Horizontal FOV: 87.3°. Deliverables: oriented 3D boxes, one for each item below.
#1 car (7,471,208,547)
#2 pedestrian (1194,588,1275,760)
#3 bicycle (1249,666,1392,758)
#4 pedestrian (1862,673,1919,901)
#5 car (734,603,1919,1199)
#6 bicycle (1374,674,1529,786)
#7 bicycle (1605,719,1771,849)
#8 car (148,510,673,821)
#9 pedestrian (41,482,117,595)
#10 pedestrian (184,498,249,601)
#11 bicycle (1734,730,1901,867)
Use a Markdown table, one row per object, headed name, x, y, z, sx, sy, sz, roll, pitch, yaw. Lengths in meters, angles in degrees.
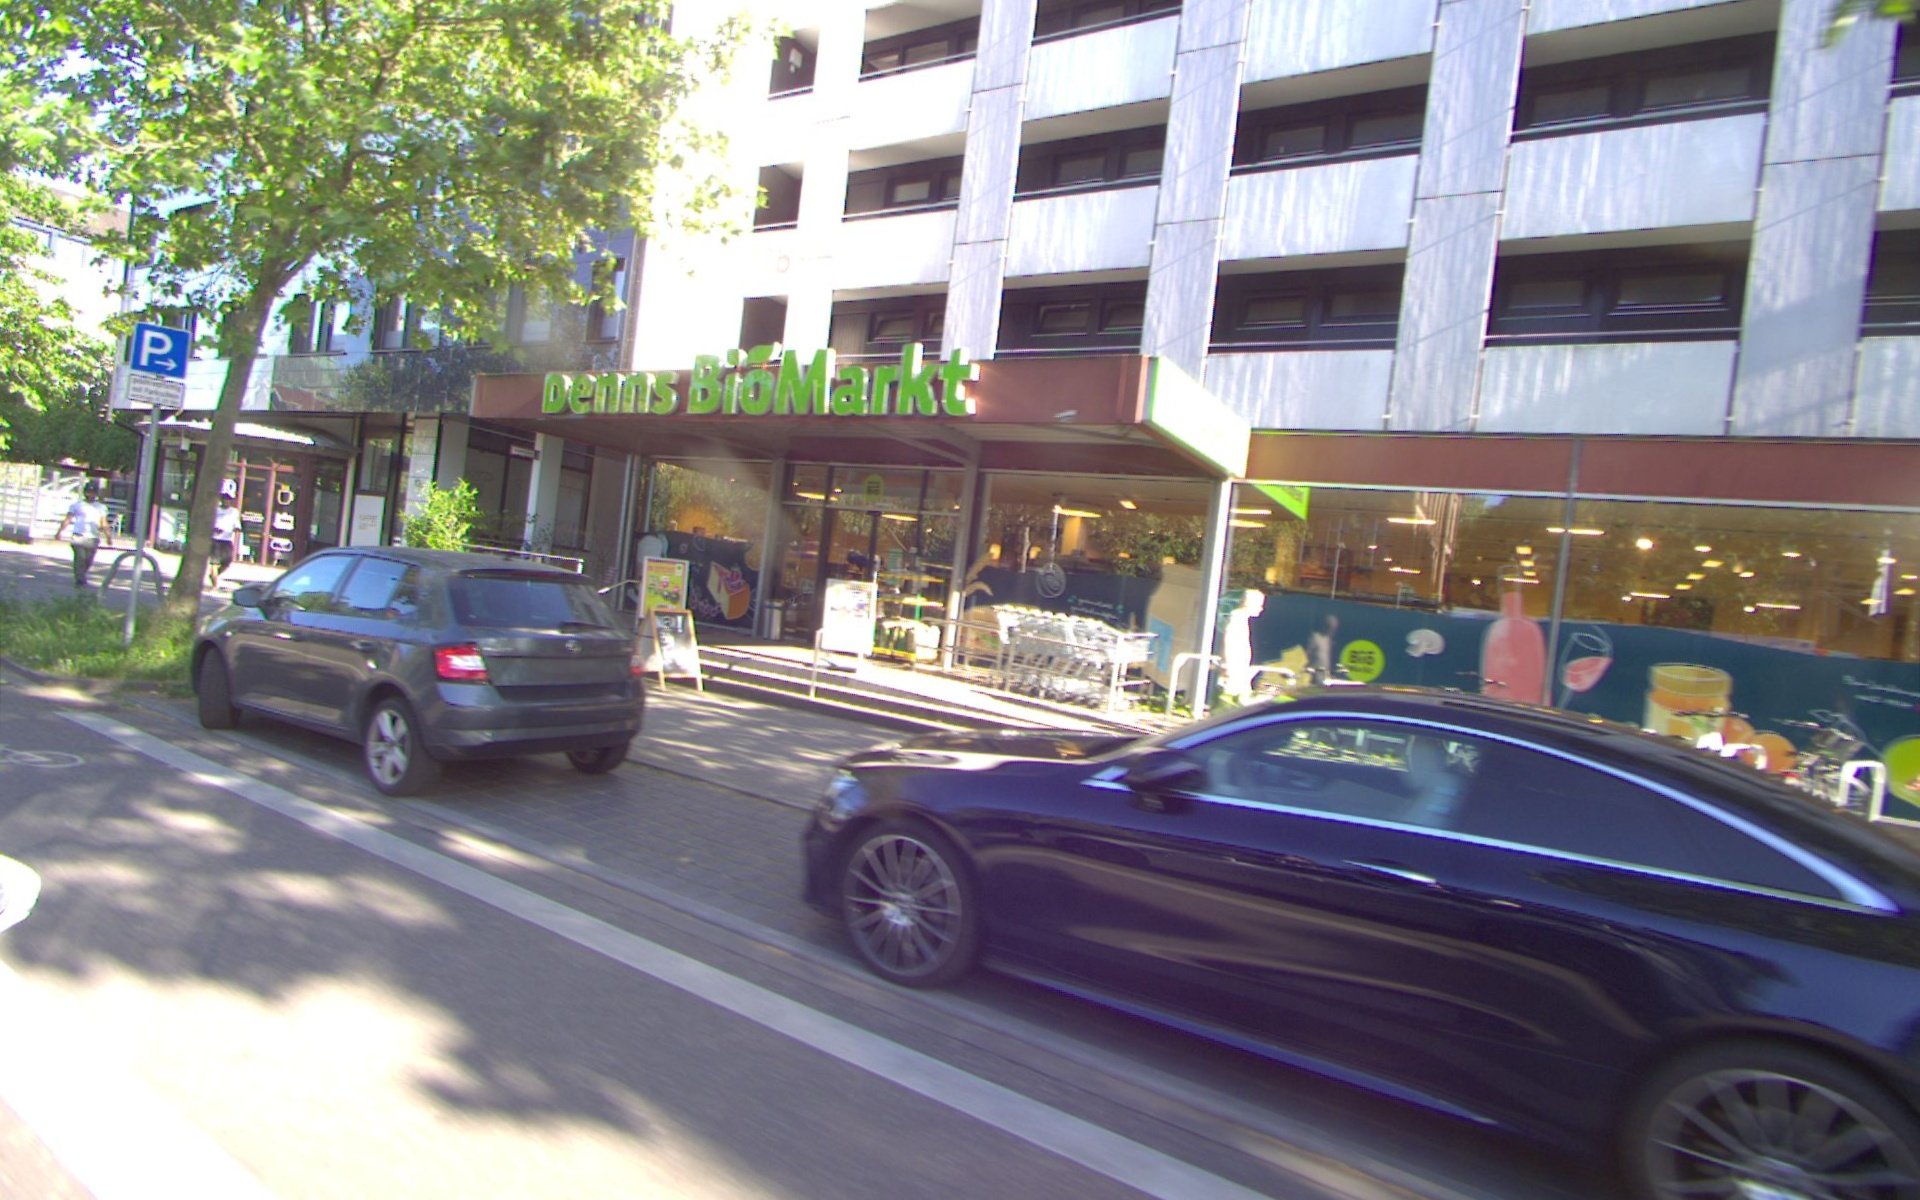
| name | x | y | z | sx | sy | sz | roll | pitch | yaw |
| --- | --- | --- | --- | --- | --- | --- | --- | --- | --- |
| car | -29.288 | -3.073 | 34.743 | 1.881 | 2.011 | 4.897 | 7 | 2 | 32 |
| pedestrian | 2.981 | 0.778 | 10.909 | 0.601 | 1.740 | 0.612 | 8 | 4 | 16 |
| bicycle | 4.238 | 1.322 | 11.791 | 1.634 | 0.929 | 0.580 | 5 | 5 | -32 |
| pedestrian | 7.699 | 1.474 | 7.741 | 0.867 | 1.701 | 0.557 | 7 | 3 | 31 |
| car | 1.487 | 1.031 | 4.018 | 4.622 | 1.435 | 1.764 | 7 | -1 | 31 |
| bicycle | 5.385 | 1.428 | 11.003 | 1.686 | 1.070 | 0.580 | 6 | 5 | -32 |
| bicycle | 7.045 | 1.746 | 9.718 | 1.686 | 1.070 | 0.580 | 5 | 4 | -32 |
| car | -4.139 | 0.336 | 7.383 | 3.934 | 1.569 | 1.567 | 7 | 0 | 32 |
| pedestrian | -14.447 | -1.009 | 16.493 | 1.034 | 1.726 | 0.560 | 7 | 2 | 32 |
| pedestrian | -13.609 | -0.925 | 18.417 | 0.864 | 1.767 | 0.560 | 7 | 2 | 31 |
| bicycle | 7.934 | 1.790 | 9.288 | 1.686 | 1.070 | 0.580 | 4 | 3 | -32 |
